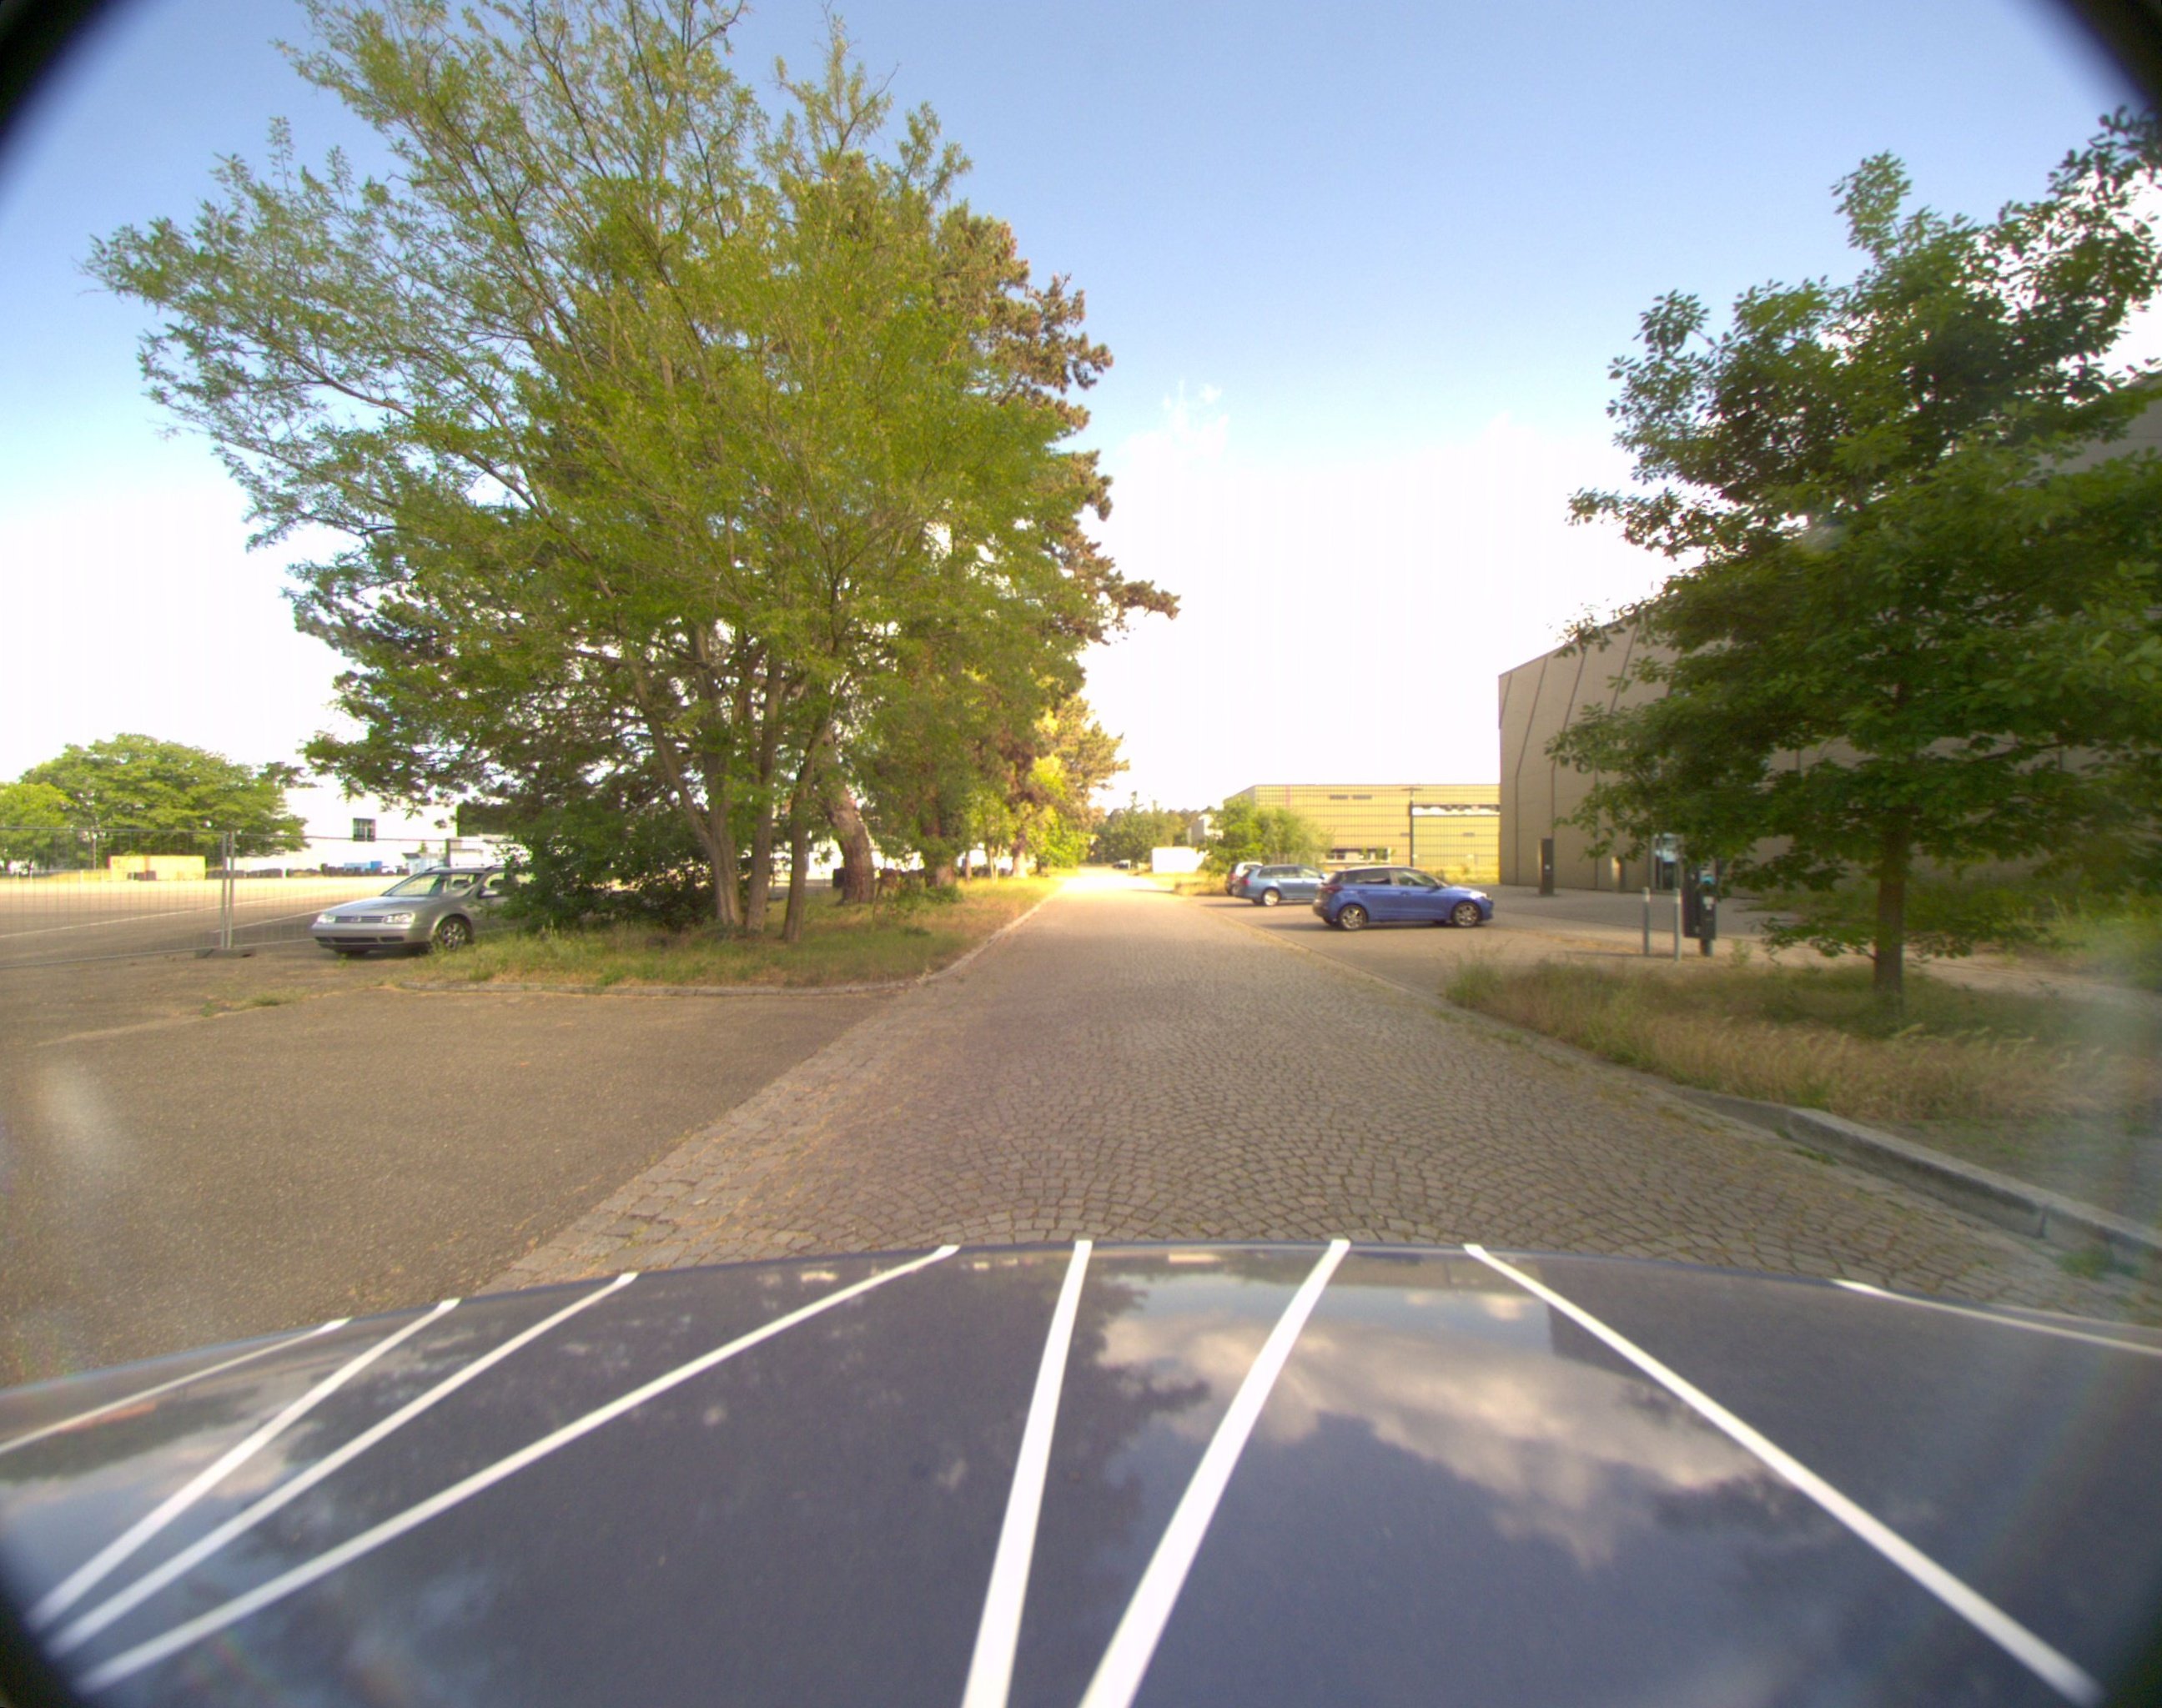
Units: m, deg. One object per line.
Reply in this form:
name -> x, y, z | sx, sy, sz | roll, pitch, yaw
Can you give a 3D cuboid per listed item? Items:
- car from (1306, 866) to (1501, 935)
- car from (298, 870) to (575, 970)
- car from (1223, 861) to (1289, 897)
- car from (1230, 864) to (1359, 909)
car -> 7.600, 1.088, 18.182 | 3.917, 1.459, 1.735 | -2, 0, 4
car -> -10.989, 1.026, 13.390 | 1.578, 1.435, 3.986 | 0, 0, -2
car -> 8.041, 1.143, 35.025 | 2.652, 1.559, 1.482 | -2, 0, 0
car -> 7.697, 1.150, 27.640 | 4.179, 1.465, 1.734 | -2, 0, -1
